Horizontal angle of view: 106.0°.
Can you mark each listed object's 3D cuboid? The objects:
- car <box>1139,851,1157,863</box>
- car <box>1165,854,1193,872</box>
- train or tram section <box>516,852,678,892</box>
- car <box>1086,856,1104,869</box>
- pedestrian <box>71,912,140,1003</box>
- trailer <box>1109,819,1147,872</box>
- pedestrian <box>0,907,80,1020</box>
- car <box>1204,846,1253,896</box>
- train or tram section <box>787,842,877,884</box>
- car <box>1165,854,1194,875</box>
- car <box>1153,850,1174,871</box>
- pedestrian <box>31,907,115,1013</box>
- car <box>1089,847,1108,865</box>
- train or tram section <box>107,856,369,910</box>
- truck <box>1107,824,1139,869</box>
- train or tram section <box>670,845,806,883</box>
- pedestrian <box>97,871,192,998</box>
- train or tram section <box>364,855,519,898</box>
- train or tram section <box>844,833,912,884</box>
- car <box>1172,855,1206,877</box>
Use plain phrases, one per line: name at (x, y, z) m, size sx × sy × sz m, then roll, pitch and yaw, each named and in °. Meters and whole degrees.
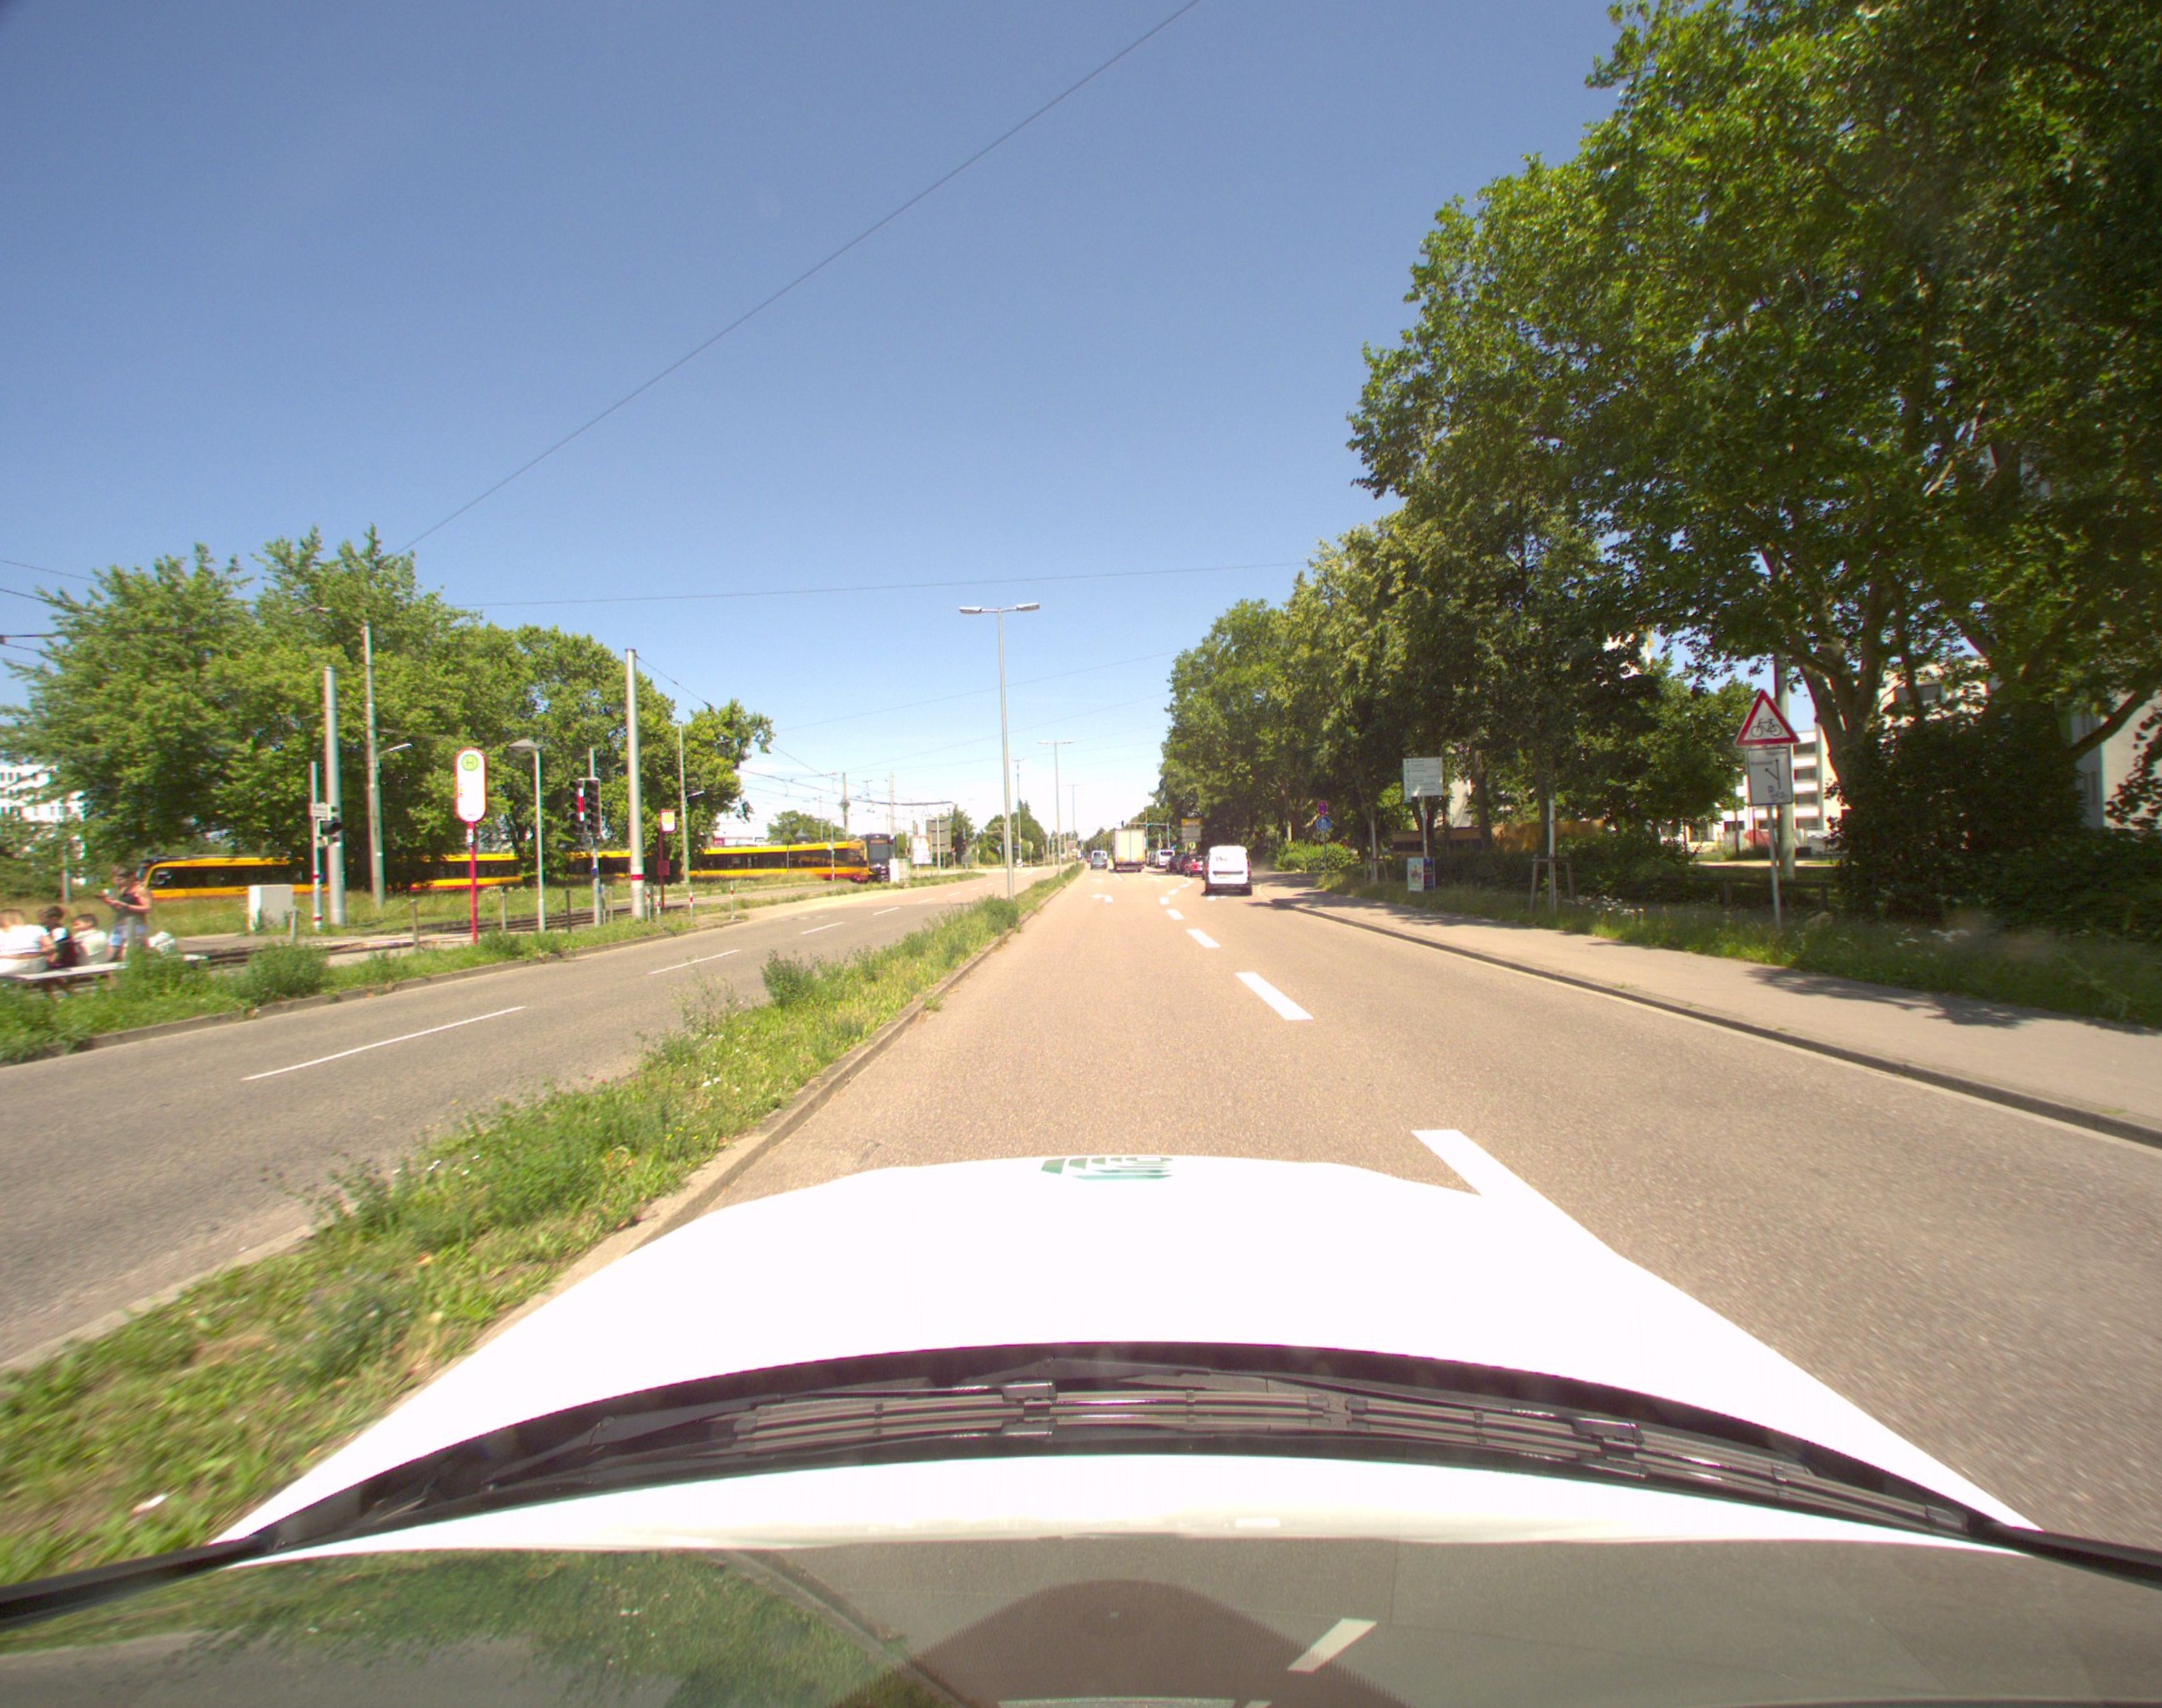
car at (8.372, 0.370, 101.578) m, size 1.986 × 1.437 × 4.253 m, roll -1°, pitch 1°, yaw 2°
car at (8.702, 0.775, 72.821) m, size 1.987 × 1.503 × 4.502 m, roll -2°, pitch 0°, yaw 0°
train or tram section at (-45.003, 1.583, 76.367) m, size 12.766 × 3.466 × 3.022 m, roll 0°, pitch 0°, yaw -24°
car at (1.546, 0.944, 87.964) m, size 1.886 × 1.372 × 4.429 m, roll 1°, pitch -2°, yaw 1°
pedestrian at (-11.902, 1.259, 9.945) m, size 0.381 × 1.058 × 0.377 m, roll 0°, pitch 0°, yaw -1°
trailer at (4.169, -0.728, 73.824) m, size 2.818 × 4.421 × 8.747 m, roll 0°, pitch 0°, yaw 0°
pedestrian at (-11.827, 1.211, 9.117) m, size 0.579 × 1.189 × 0.536 m, roll 0°, pitch 0°, yaw 0°
car at (5.589, 0.591, 30.924) m, size 1.699 × 1.747 × 4.439 m, roll 0°, pitch 0°, yaw 10°
train or tram section at (-21.998, 0.747, 71.520) m, size 10.096 × 3.466 × 3.064 m, roll 0°, pitch 0°, yaw 44°
car at (7.685, 0.796, 63.808) m, size 1.852 × 1.549 × 3.886 m, roll 0°, pitch 0°, yaw 0°
car at (8.938, 0.687, 88.193) m, size 1.885 × 2.121 × 3.886 m, roll 0°, pitch 0°, yaw 0°
pedestrian at (-11.873, 1.238, 9.601) m, size 0.492 × 1.189 × 0.401 m, roll 0°, pitch 0°, yaw 3°
car at (2.006, 0.204, 95.792) m, size 1.988 × 2.111 × 4.746 m, roll -1°, pitch 1°, yaw -1°
train or tram section at (-62.203, 1.952, 60.931) m, size 3.009 × 3.466 × 13.340 m, roll 0°, pitch 0°, yaw 24°
truck at (4.149, -0.770, 82.387) m, size 2.818 × 4.344 × 8.283 m, roll 0°, pitch 1°, yaw 0°
train or tram section at (-32.359, 0.942, 76.825) m, size 12.613 × 3.466 × 3.059 m, roll 0°, pitch 0°, yaw 15°
pedestrian at (-12.034, 1.010, 10.480) m, size 0.533 × 1.565 × 0.582 m, roll 0°, pitch 0°, yaw 0°
train or tram section at (-55.315, 1.841, 70.746) m, size 3.008 × 3.466 × 10.284 m, roll -1°, pitch 0°, yaw 44°
train or tram section at (-15.537, 0.304, 61.440) m, size 3.049 × 3.466 × 13.192 m, roll 0°, pitch 0°, yaw -23°
car at (7.194, 0.801, 54.577) m, size 1.649 × 1.396 × 4.266 m, roll 0°, pitch 0°, yaw 0°
